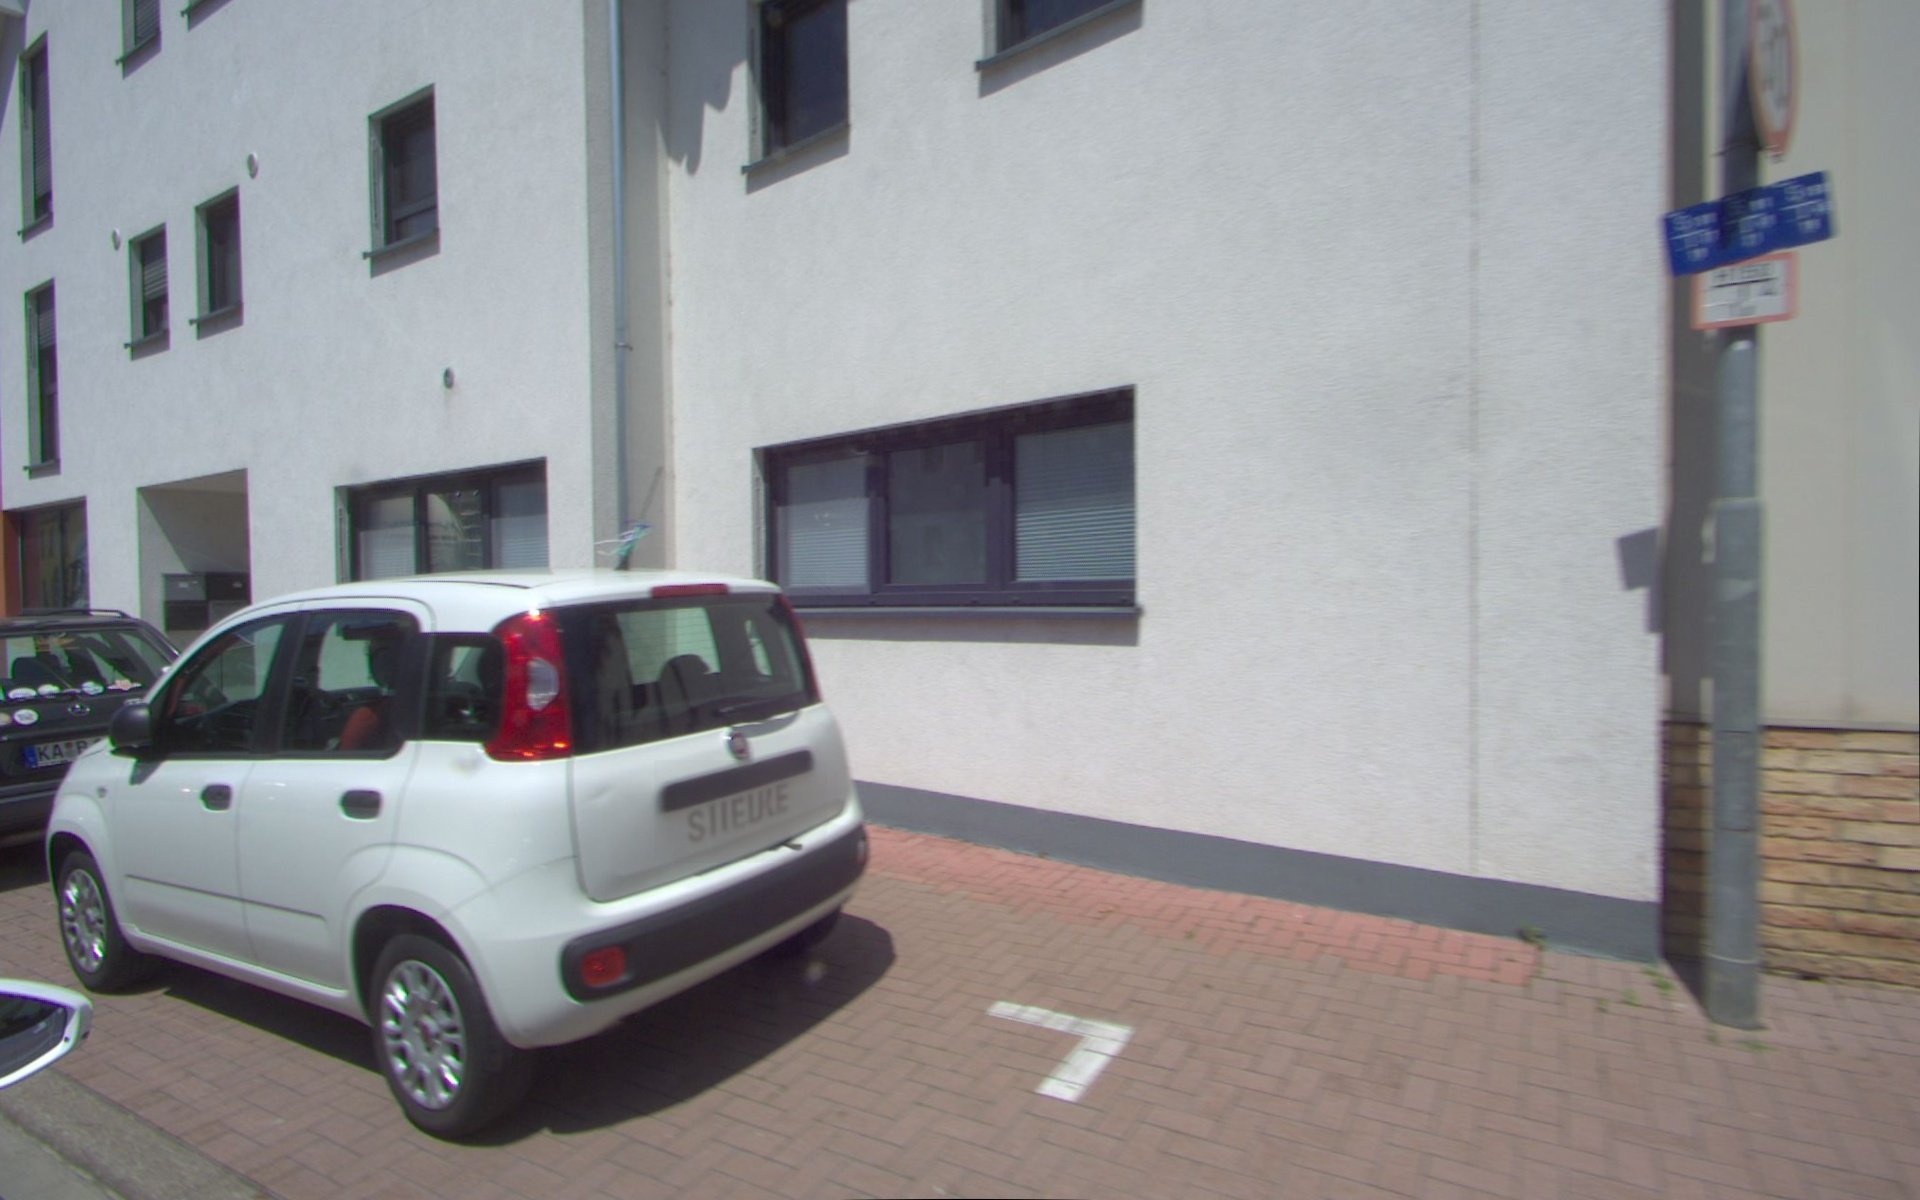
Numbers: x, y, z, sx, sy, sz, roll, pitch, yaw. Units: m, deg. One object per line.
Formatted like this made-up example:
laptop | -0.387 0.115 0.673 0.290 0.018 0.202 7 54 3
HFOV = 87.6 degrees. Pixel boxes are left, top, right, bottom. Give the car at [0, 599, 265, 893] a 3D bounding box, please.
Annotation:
car | -6.812 0.789 6.729 4.766 1.467 1.696 -1 3 32

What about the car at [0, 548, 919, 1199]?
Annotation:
car | -2.069 0.638 3.907 3.493 1.543 1.603 -1 3 32
